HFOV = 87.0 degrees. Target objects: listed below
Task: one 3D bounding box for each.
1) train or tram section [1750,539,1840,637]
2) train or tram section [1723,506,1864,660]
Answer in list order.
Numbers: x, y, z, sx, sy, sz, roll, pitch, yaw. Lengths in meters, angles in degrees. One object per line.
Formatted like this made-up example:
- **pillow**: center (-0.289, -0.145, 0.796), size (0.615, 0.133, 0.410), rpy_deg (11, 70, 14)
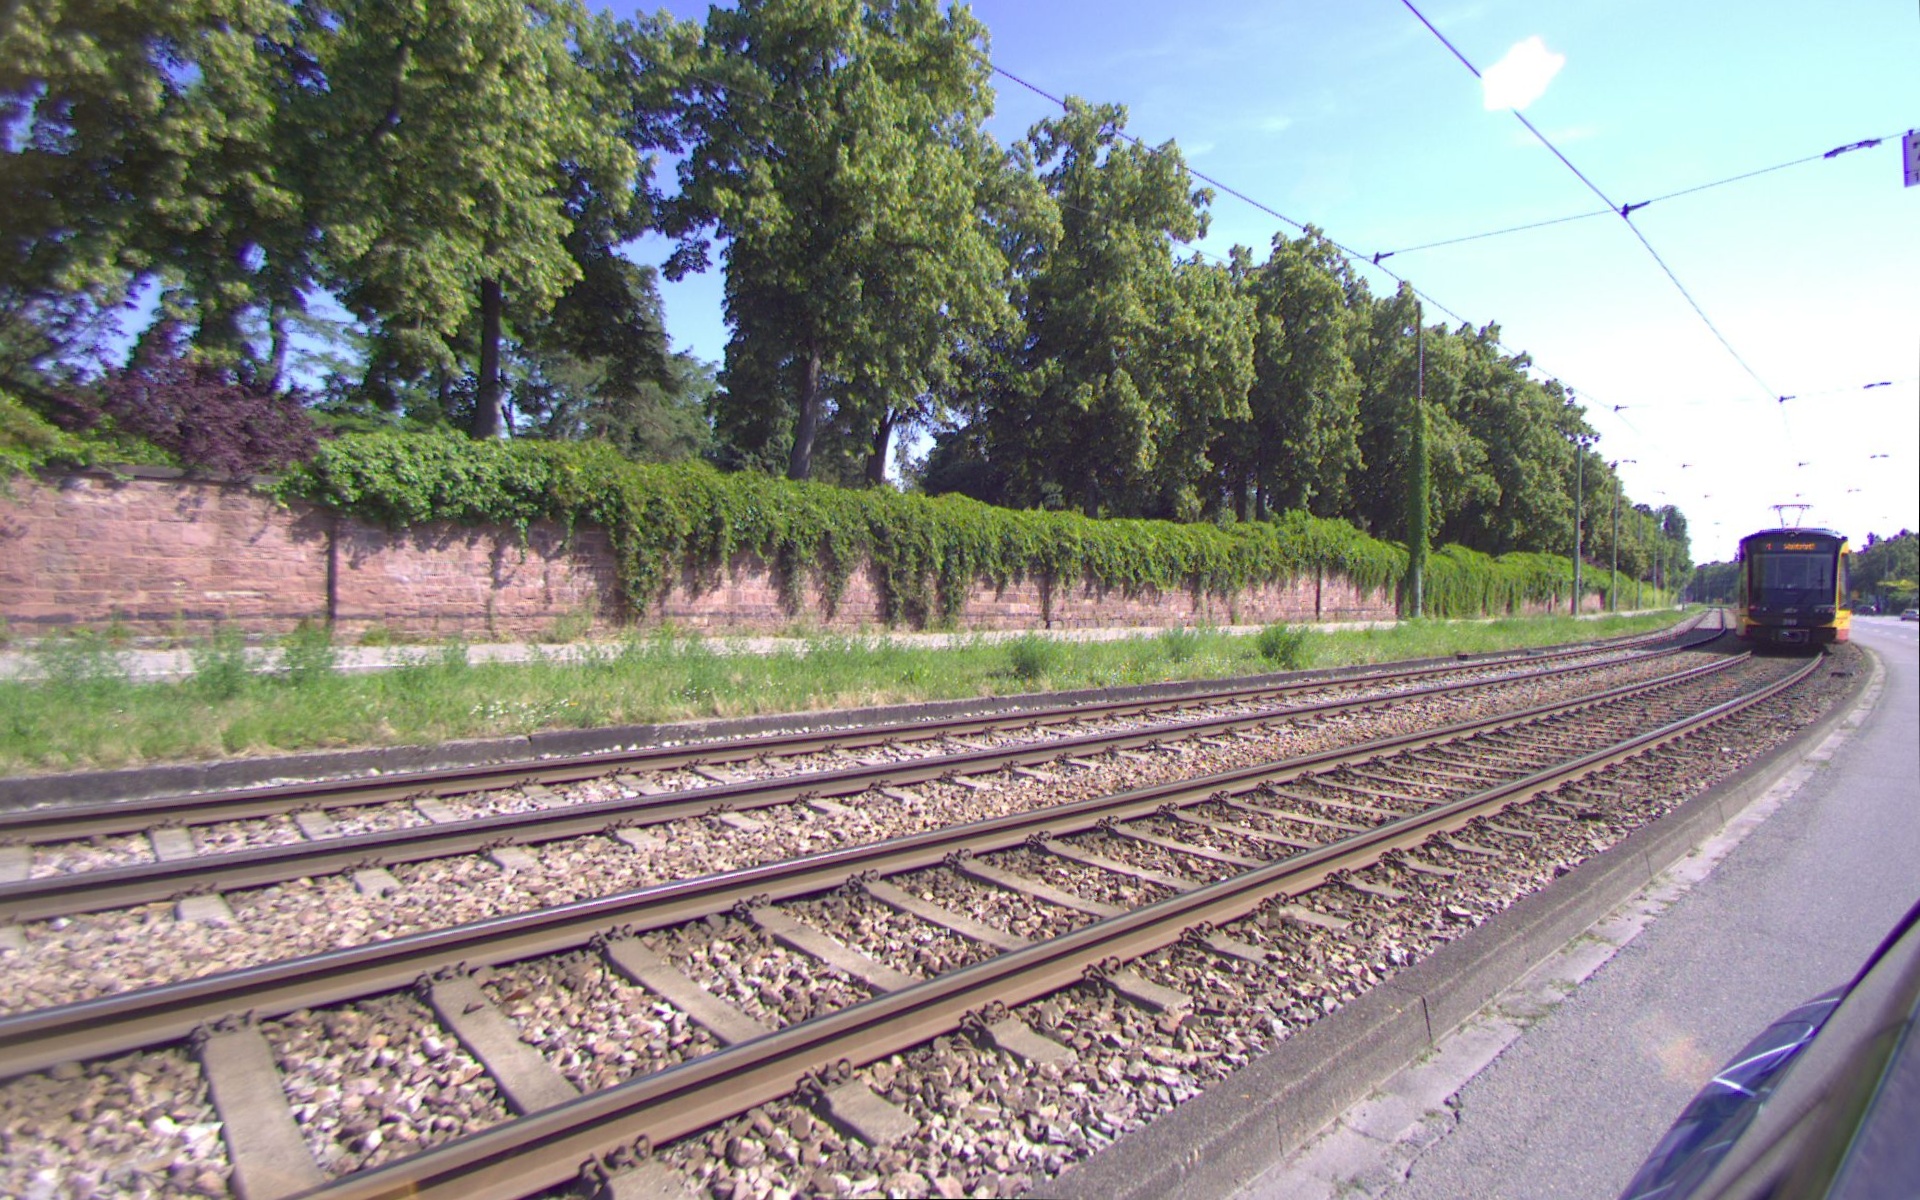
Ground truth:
- **train or tram section**: center (38.919, -0.507, 47.243), size (2.710, 3.784, 18.607), rpy_deg (1, 1, 40)
- **train or tram section**: center (27.059, -0.445, 32.923), size (2.710, 3.784, 18.607), rpy_deg (1, 1, 40)
